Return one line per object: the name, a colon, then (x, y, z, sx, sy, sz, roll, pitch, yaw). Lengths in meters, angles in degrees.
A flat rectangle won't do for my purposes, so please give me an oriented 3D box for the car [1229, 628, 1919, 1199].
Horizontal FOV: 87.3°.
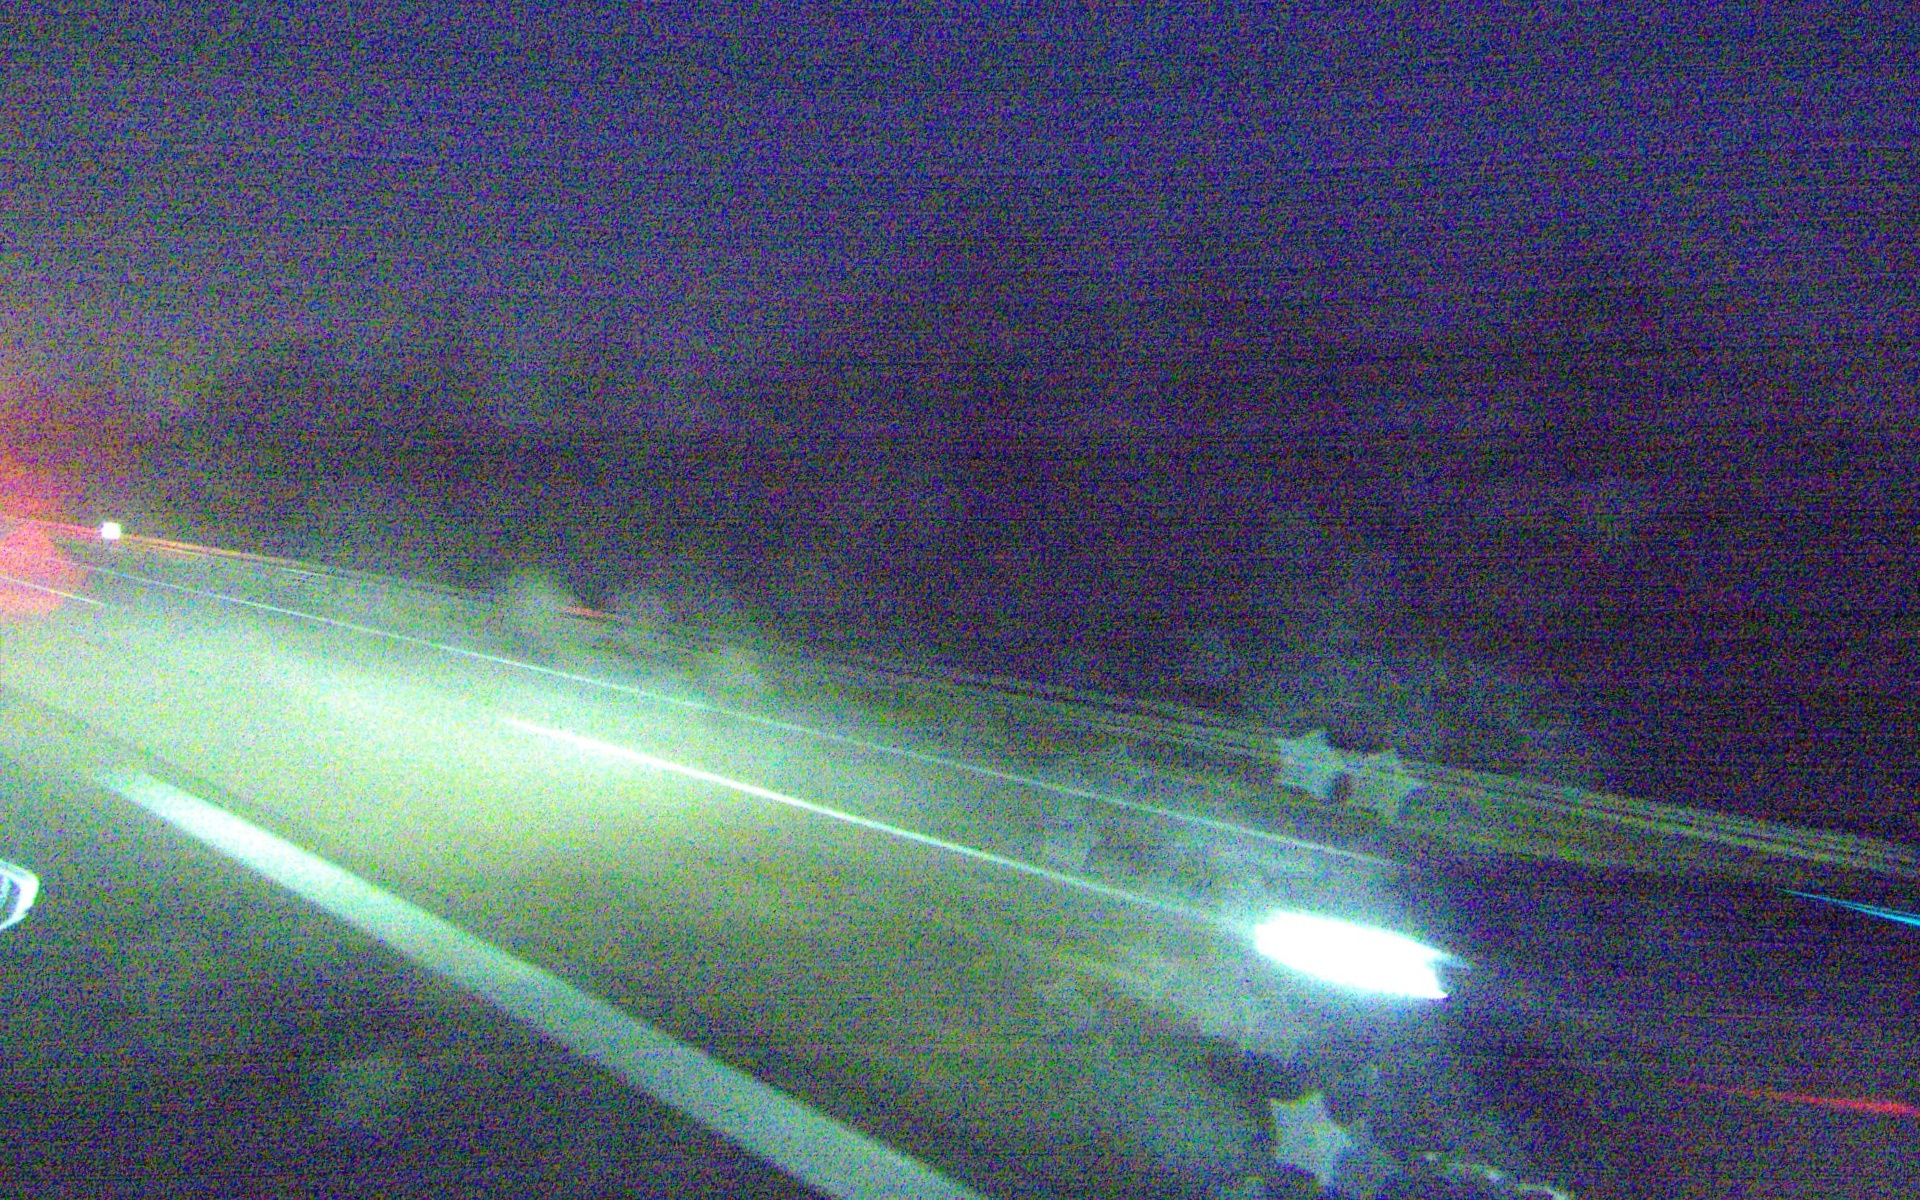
car: (3.400, 1.194, 2.253, 4.930, 1.537, 2.062, 7, -1, 30)
